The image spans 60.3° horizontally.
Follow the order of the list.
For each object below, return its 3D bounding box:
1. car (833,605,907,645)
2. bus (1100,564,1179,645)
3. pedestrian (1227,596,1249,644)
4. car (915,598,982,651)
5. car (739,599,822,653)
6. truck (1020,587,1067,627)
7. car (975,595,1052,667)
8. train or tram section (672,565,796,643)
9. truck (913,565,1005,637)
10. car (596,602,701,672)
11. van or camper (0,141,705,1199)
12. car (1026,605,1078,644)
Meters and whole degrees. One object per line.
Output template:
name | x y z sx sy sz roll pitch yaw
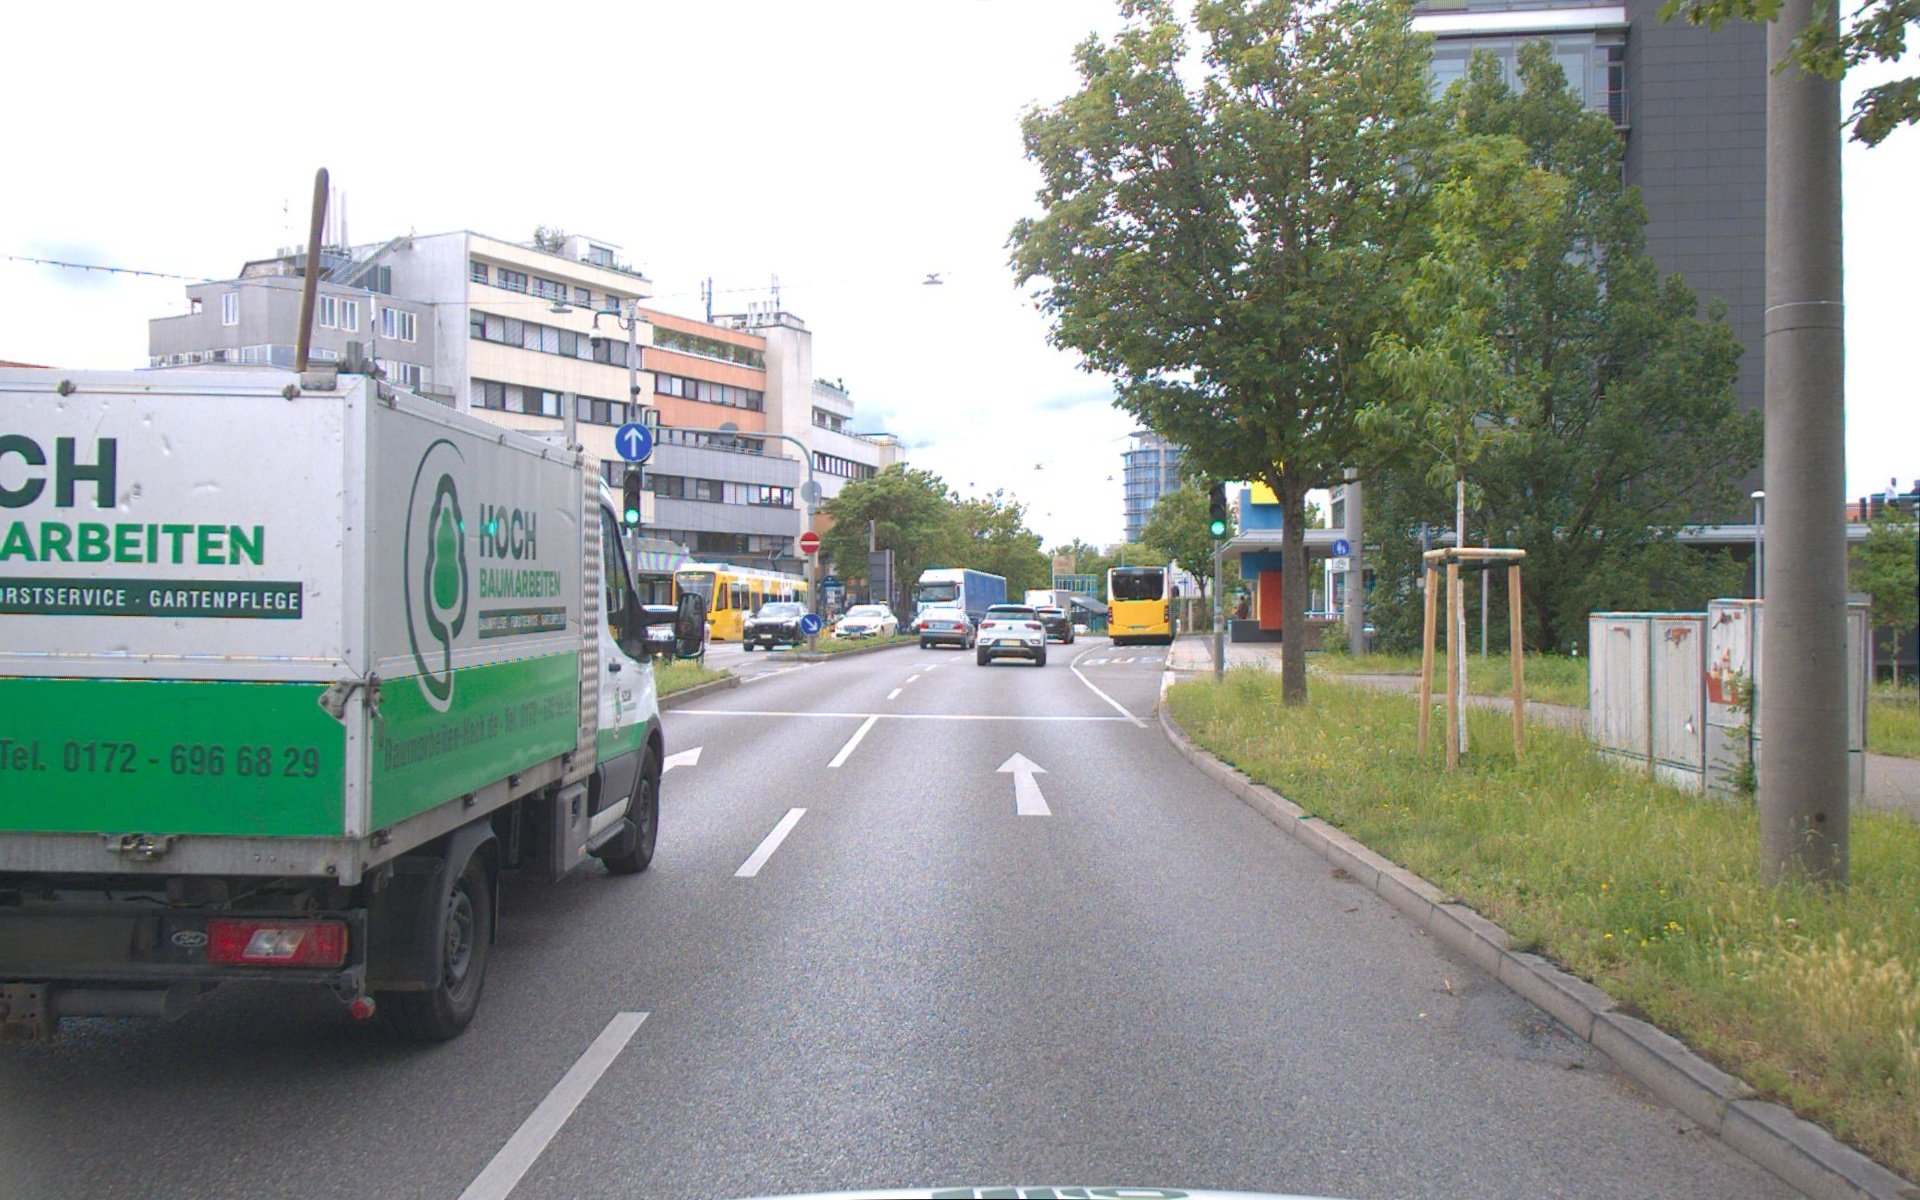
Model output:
car | -3.531 0.966 65.779 1.923 1.525 4.779 0 0 10
bus | 7.846 0.166 71.169 2.891 3.246 9.937 0 0 9
pedestrian | 10.596 0.758 63.094 0.695 1.847 0.764 0 0 -1
car | -0.357 0.809 57.409 1.663 1.542 3.741 1 3 11
car | -5.692 0.847 52.869 1.858 1.646 4.277 0 -1 5
truck | 6.738 0.519 132.521 3.017 3.081 9.365 0 0 8
car | 1.447 0.777 43.792 1.664 1.574 3.740 3 3 6
train or tram section | -10.737 0.218 80.232 2.505 3.470 13.092 0 0 8
truck | 0.146 0.054 104.755 2.891 4.151 16.616 0 0 10
car | -6.827 0.804 36.602 1.581 1.471 3.653 0 -1 1
van or camper | -2.686 0.150 7.129 2.295 2.708 5.964 1 1 -1
car | 3.989 1.044 71.072 1.663 1.542 3.497 1 1 13
